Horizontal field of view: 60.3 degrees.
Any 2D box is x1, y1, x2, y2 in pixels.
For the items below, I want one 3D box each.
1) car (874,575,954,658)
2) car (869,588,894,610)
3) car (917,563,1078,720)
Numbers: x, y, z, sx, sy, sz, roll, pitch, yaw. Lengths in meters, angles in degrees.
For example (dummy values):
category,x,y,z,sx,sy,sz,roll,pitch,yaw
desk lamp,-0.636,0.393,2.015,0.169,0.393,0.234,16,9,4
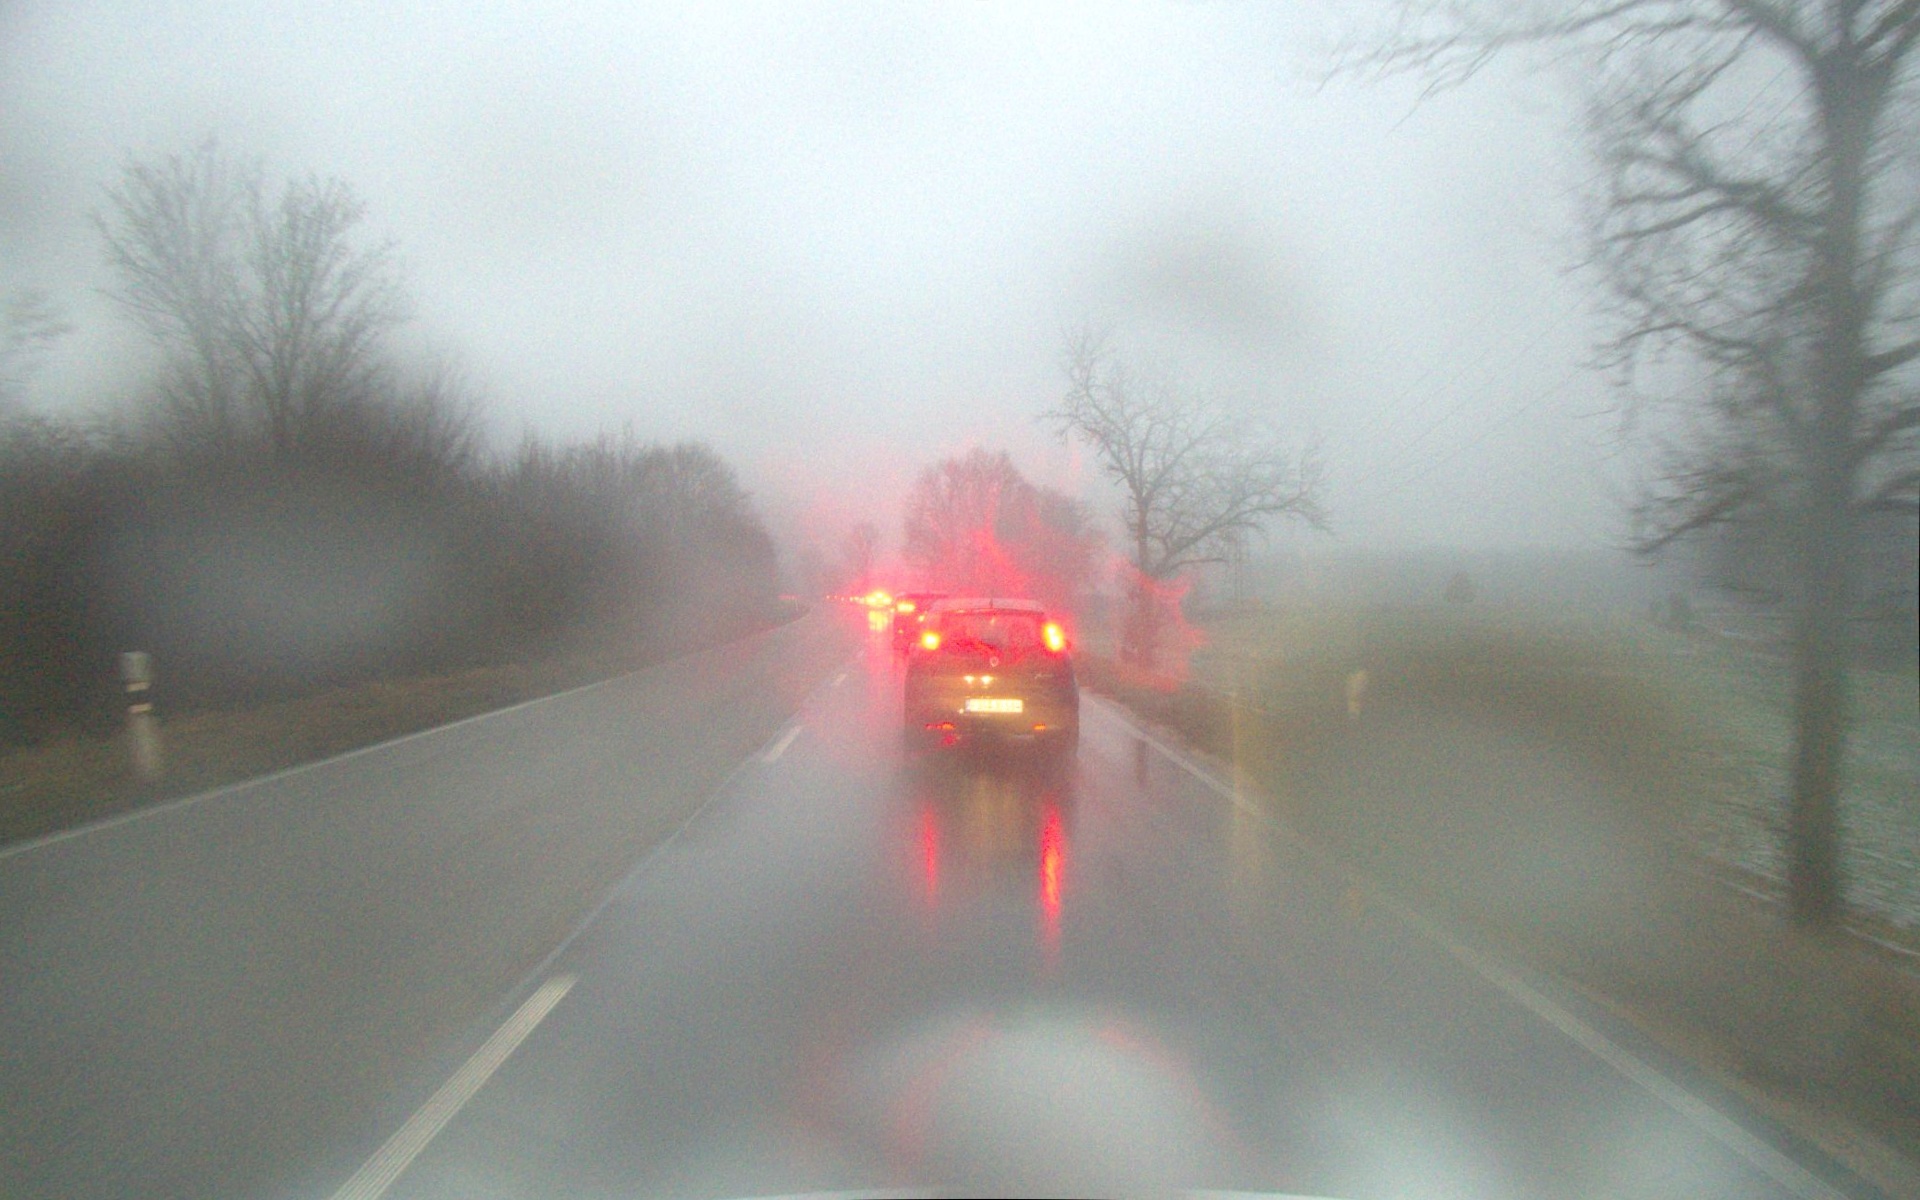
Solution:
category,x,y,z,sx,sy,sz,roll,pitch,yaw
car,-1.163,0.415,43.263,1.814,2.049,4.001,1,0,2
car,-6.583,-0.100,138.837,1.825,1.729,4.468,0,1,0
car,0.411,0.376,16.815,1.469,1.423,3.200,1,0,2
